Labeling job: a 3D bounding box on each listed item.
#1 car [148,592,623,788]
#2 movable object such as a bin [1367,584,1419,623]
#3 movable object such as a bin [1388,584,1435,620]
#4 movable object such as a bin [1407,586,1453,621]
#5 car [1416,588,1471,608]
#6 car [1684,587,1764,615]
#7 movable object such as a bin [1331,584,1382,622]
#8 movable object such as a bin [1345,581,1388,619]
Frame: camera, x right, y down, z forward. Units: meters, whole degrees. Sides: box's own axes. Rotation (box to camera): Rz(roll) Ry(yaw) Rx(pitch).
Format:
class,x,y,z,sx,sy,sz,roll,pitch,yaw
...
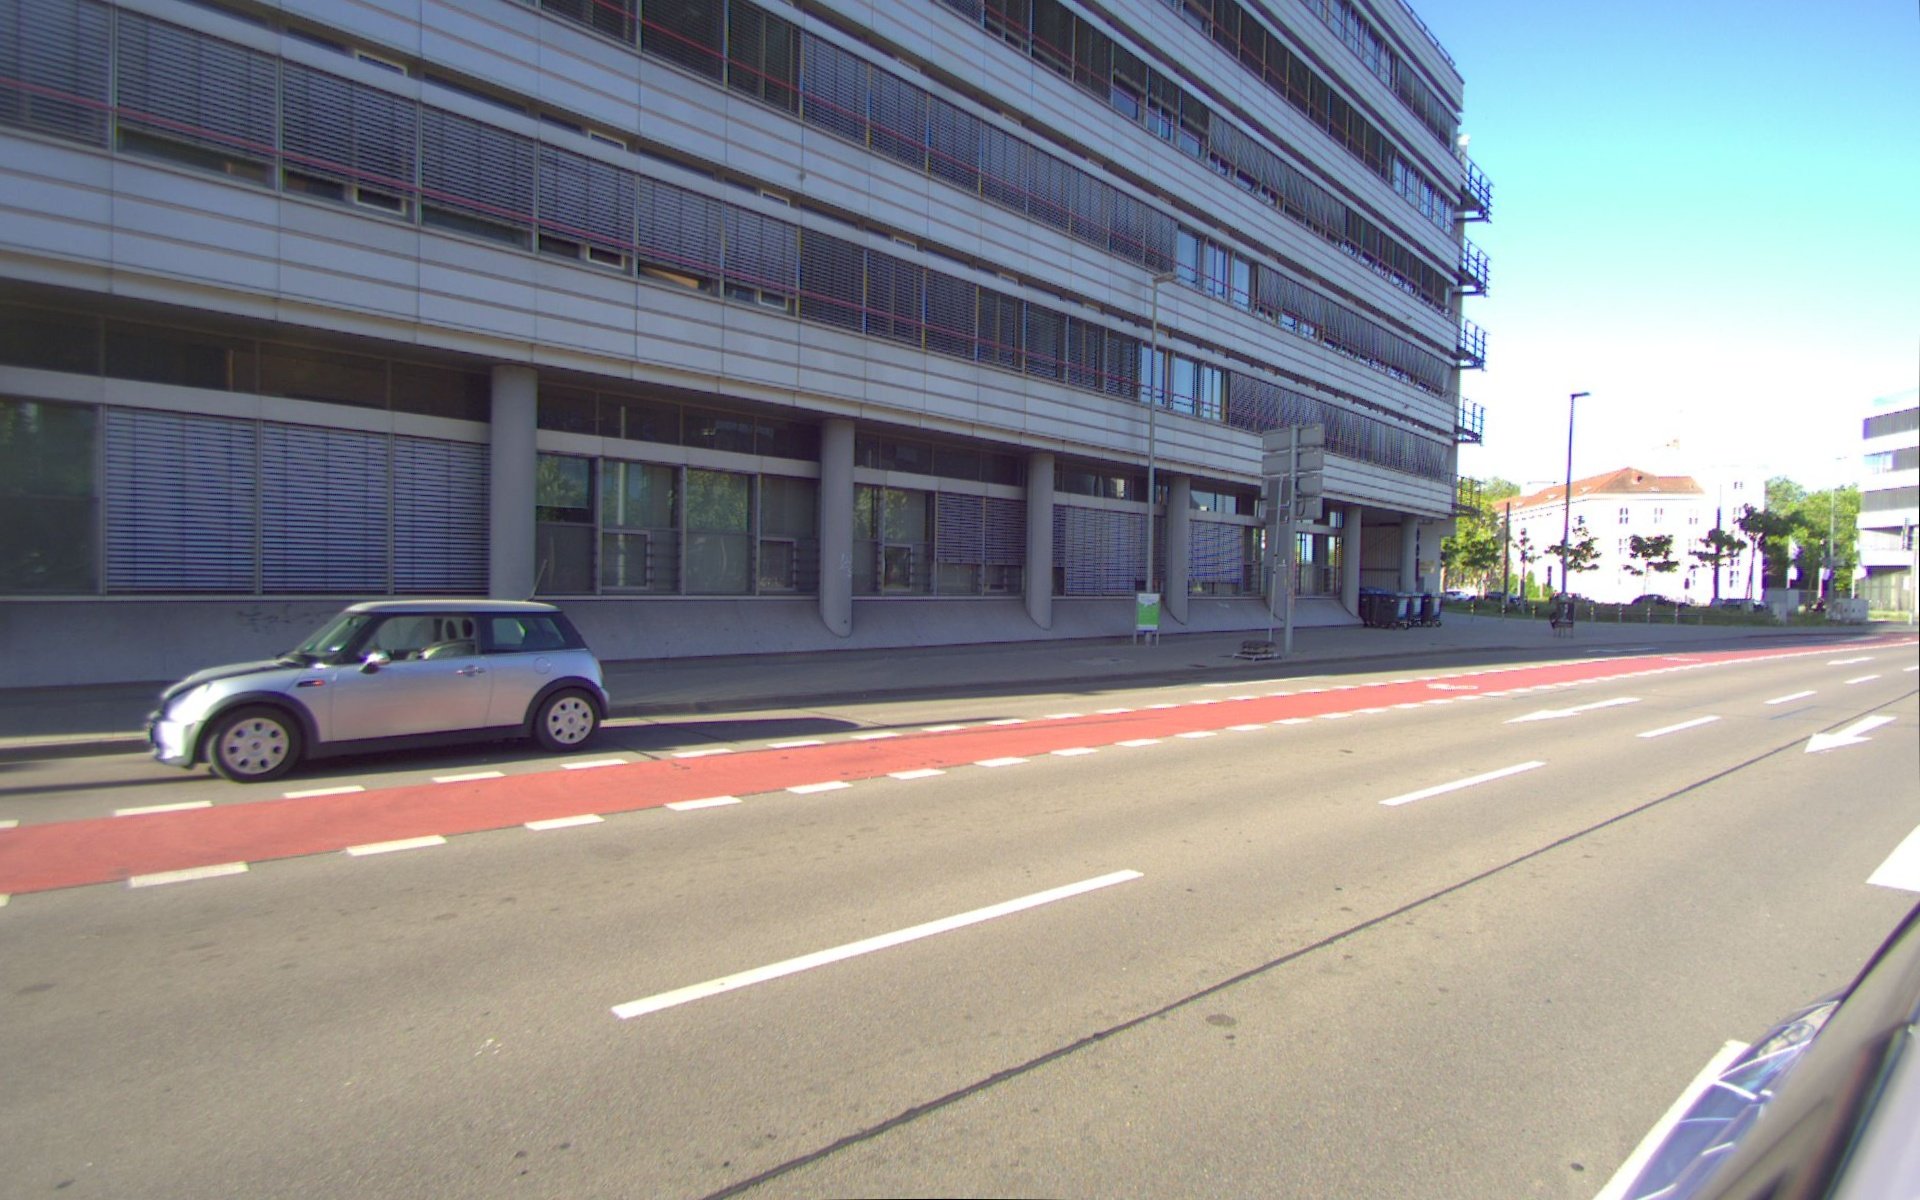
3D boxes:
class,x,y,z,sx,sy,sz,roll,pitch,yaw
car,-5.046,0.635,9.092,3.475,1.406,1.664,0,1,-41
movable object such as a bin,15.356,0.111,35.886,1.153,1.317,1.327,0,2,-40
movable object such as a bin,17.173,0.072,38.503,1.305,1.317,1.173,0,2,-40
movable object such as a bin,18.236,0.120,39.291,1.305,1.317,1.173,0,2,-40
car,39.969,-0.153,83.759,1.705,1.551,3.807,0,2,-28
car,45.855,0.042,60.828,1.706,1.551,3.806,1,1,-4
movable object such as a bin,14.462,0.103,36.915,1.153,1.317,1.327,0,2,-40
movable object such as a bin,15.508,-0.008,38.612,1.088,1.391,1.109,0,1,-40
